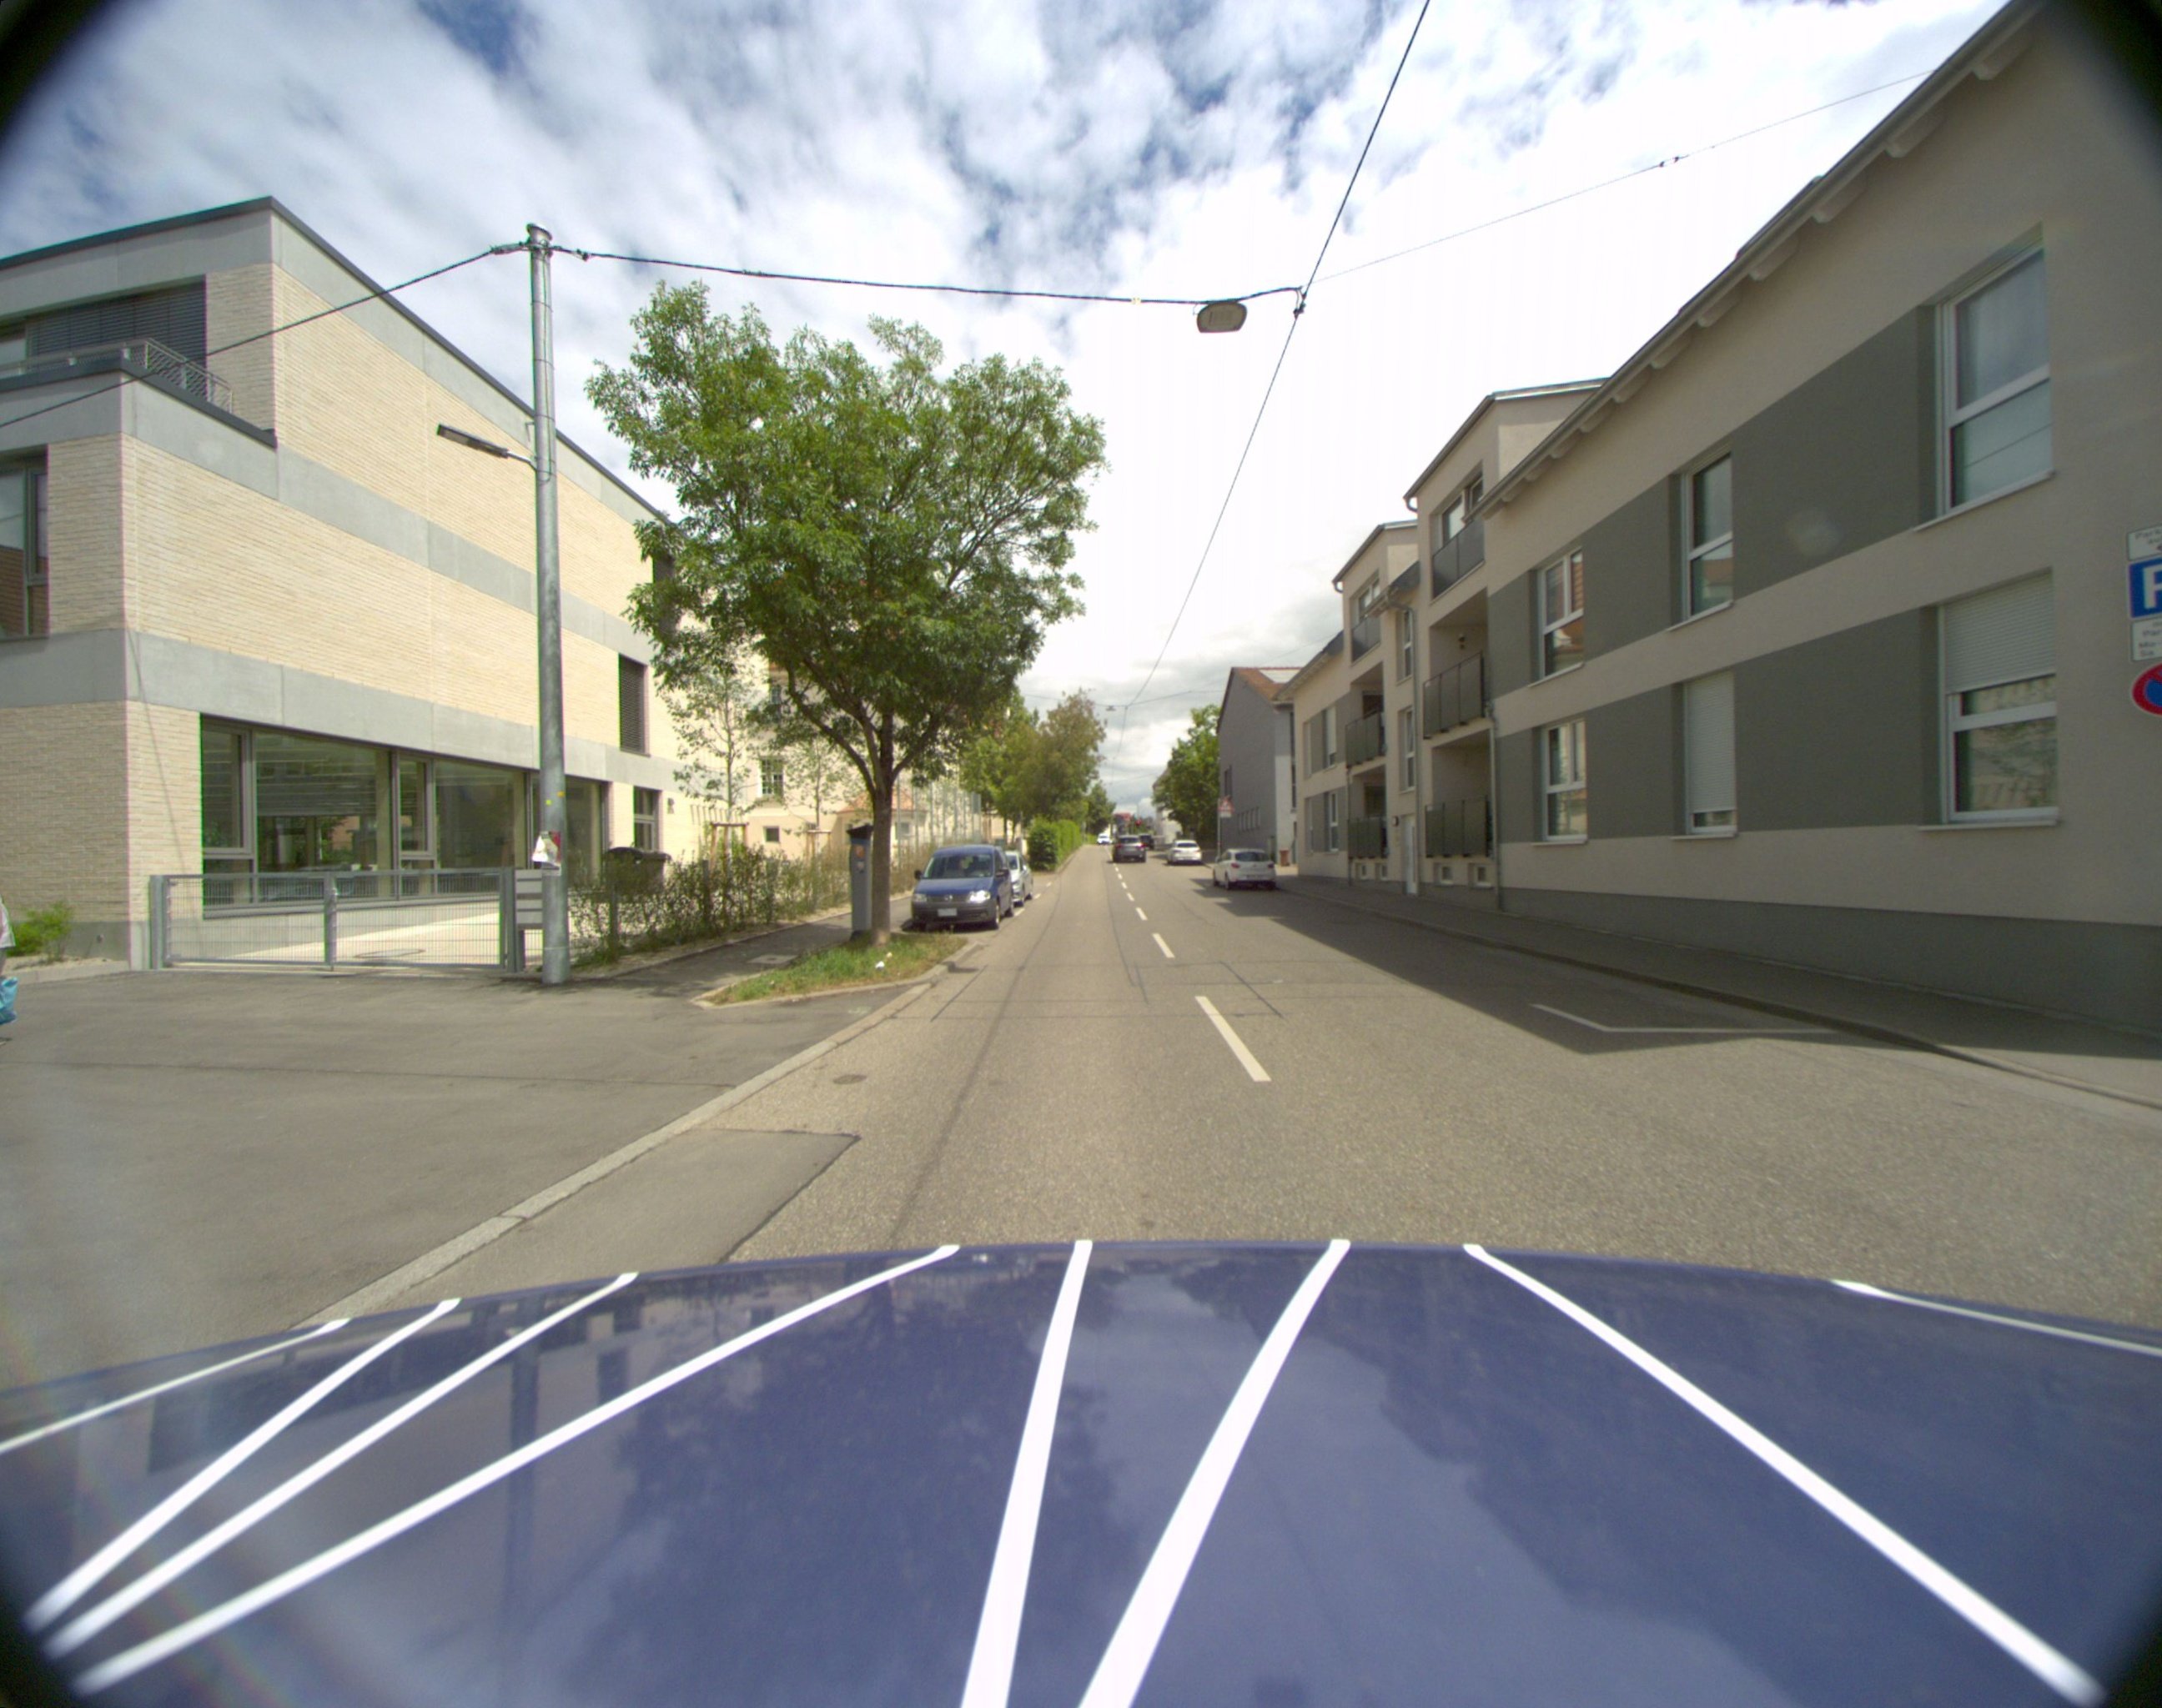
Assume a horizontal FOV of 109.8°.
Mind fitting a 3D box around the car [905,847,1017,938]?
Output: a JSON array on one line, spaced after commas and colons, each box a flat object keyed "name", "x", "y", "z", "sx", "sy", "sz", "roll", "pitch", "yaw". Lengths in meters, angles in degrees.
[{"name": "car", "x": -2.498, "y": 0.729, "z": 16.822, "sx": 1.698, "sy": 1.733, "sz": 4.159, "roll": -1, "pitch": 1, "yaw": 1}]

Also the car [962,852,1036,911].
[{"name": "car", "x": -2.341, "y": 0.740, "z": 22.454, "sx": 1.677, "sy": 1.510, "sz": 3.669, "roll": -1, "pitch": 1, "yaw": 1}]

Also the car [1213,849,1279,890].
[{"name": "car", "x": 5.820, "y": 0.520, "z": 27.172, "sx": 1.665, "sy": 1.322, "sz": 3.474, "roll": -1, "pitch": 0, "yaw": 1}]

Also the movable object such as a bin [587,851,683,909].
[{"name": "movable object such as a bin", "x": -11.609, "y": 0.649, "z": 19.864, "sx": 1.351, "sy": 1.438, "sz": 1.807, "roll": -1, "pitch": 0, "yaw": 2}]

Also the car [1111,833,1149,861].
[{"name": "car", "x": 3.123, "y": -0.445, "z": 49.359, "sx": 1.946, "sy": 1.709, "sz": 4.596, "roll": 0, "pitch": 0, "yaw": -3}]

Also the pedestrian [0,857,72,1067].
[{"name": "pedestrian", "x": -9.161, "y": 0.893, "z": 6.149, "sx": 0.775, "sy": 1.693, "sz": 0.829, "roll": -2, "pitch": 1, "yaw": 0}]

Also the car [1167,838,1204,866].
[{"name": "car", "x": 6.168, "y": -0.145, "z": 45.139, "sx": 1.737, "sy": 1.480, "sz": 4.065, "roll": 0, "pitch": 2, "yaw": 1}]

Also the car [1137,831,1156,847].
[{"name": "car", "x": 6.694, "y": -1.530, "z": 78.172, "sx": 1.672, "sy": 1.545, "sz": 3.964, "roll": 0, "pitch": 2, "yaw": 1}]

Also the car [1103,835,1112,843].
[{"name": "car", "x": 4.166, "y": -2.386, "z": 120.322, "sx": 1.298, "sy": 1.148, "sz": 2.983, "roll": -3, "pitch": 0, "yaw": 1}]
